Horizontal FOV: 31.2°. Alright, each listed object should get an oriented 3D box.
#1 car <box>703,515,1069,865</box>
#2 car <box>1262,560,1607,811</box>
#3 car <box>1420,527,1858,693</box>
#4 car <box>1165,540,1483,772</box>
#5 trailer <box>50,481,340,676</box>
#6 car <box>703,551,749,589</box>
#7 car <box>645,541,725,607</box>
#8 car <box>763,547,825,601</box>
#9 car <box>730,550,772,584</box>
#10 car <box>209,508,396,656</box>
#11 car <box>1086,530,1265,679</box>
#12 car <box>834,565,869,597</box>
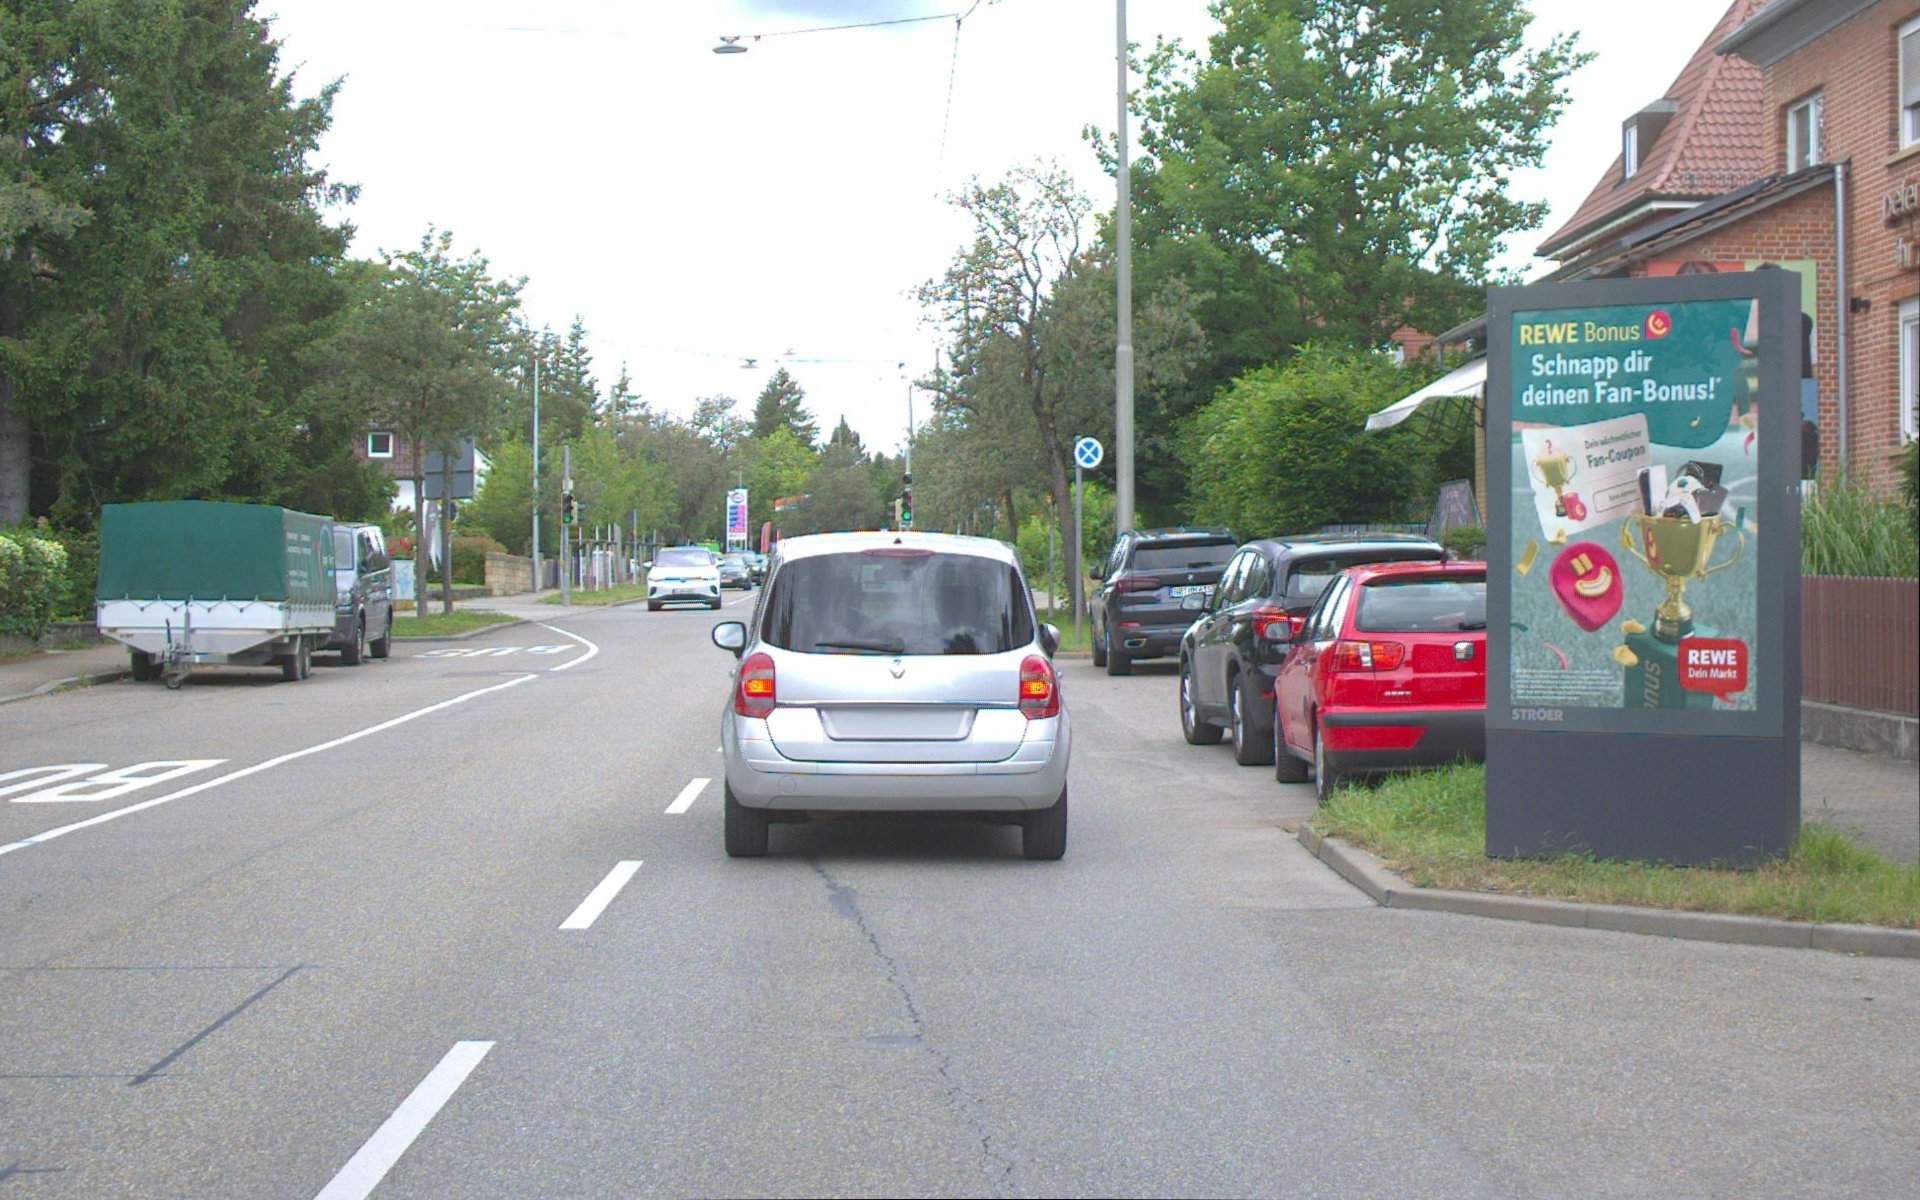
[{"bbox_3d":[-0.357,0.427,17.789,1.630,1.551,4.000,2,0,0],"label":"car"},{"bbox_3d":[2.808,0.457,21.022,1.662,1.388,3.667,0,1,1],"label":"car"},{"bbox_3d":[6.938,0.087,35.316,3.986,1.491,1.810,-3,1,-9],"label":"car"},{"bbox_3d":[2.598,0.356,25.417,1.662,1.559,4.099,1,1,-3],"label":"car"},{"bbox_3d":[-8.973,-0.217,40.873,2.312,2.079,5.873,2,0,-3],"label":"trailer"},{"bbox_3d":[-9.303,-1.170,136.530,1.721,1.406,4.000,2,0,-4],"label":"car"},{"bbox_3d":[-7.076,-0.640,88.267,1.905,1.612,4.001,1,0,-6],"label":"car"},{"bbox_3d":[-5.218,-0.810,108.139,1.829,1.670,3.574,0,0,-1],"label":"car"},{"bbox_3d":[-9.336,-1.457,153.372,1.721,1.406,4.000,2,0,-4],"label":"car"},{"bbox_3d":[-9.162,-0.232,48.251,1.887,1.915,4.562,2,0,-3],"label":"car"},{"bbox_3d":[2.605,0.062,42.413,1.812,1.737,4.000,0,0,-2],"label":"car"},{"bbox_3d":[-5.926,-1.039,187.949,1.829,1.670,3.574,0,0,-1],"label":"car"}]
